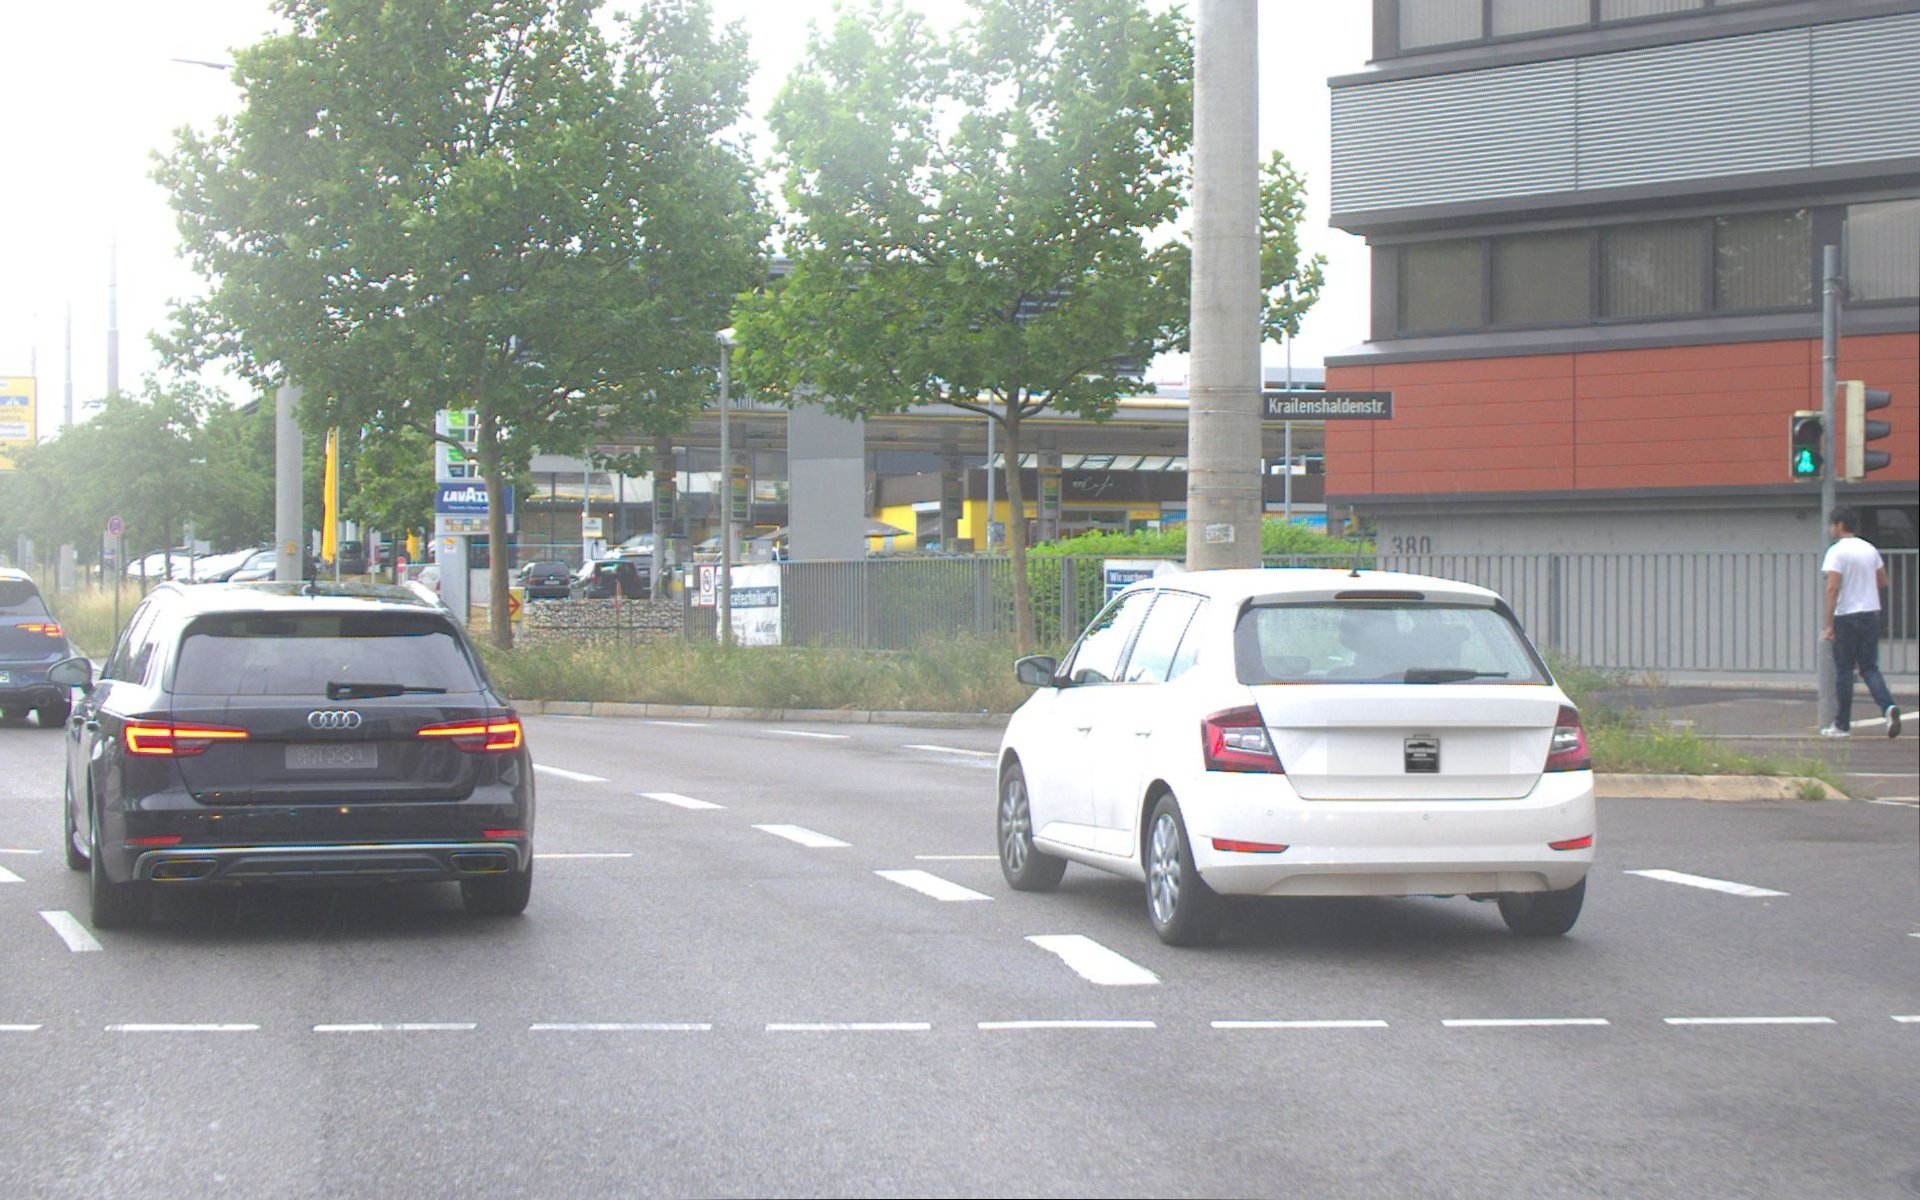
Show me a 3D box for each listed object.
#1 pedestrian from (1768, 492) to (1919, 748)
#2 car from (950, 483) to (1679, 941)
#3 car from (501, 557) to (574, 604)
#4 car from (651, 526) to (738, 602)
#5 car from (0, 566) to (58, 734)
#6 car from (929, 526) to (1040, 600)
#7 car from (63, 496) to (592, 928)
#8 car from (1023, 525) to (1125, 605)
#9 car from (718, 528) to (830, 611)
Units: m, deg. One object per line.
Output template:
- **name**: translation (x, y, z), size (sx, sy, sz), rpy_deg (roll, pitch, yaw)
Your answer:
- **pedestrian**: translation (7.598, 0.149, 29.278), size (1.143, 2.118, 1.222), rpy_deg (0, 2, 0)
- **car**: translation (1.317, 0.427, 14.556), size (1.828, 1.650, 4.001), rpy_deg (1, 0, -13)
- **car**: translation (-14.553, -0.692, 118.238), size (1.791, 1.586, 4.001), rpy_deg (0, 1, -18)
- **car**: translation (-7.412, -0.984, 95.710), size (1.678, 2.007, 3.543), rpy_deg (3, -1, -16)
- **car**: translation (-9.355, 0.432, 31.623), size (1.893, 1.460, 3.910), rpy_deg (1, 0, -17)
- **car**: translation (0.682, -1.054, 99.048), size (1.869, 2.007, 3.775), rpy_deg (3, -1, -21)
- **car**: translation (-2.921, 0.404, 15.169), size (1.993, 1.631, 4.001), rpy_deg (0, 1, -15)
- **car**: translation (2.978, -0.913, 90.595), size (1.674, 2.007, 3.138), rpy_deg (3, 0, -17)
- **car**: translation (-4.735, -0.773, 86.901), size (1.993, 2.025, 4.001), rpy_deg (0, 1, -16)
